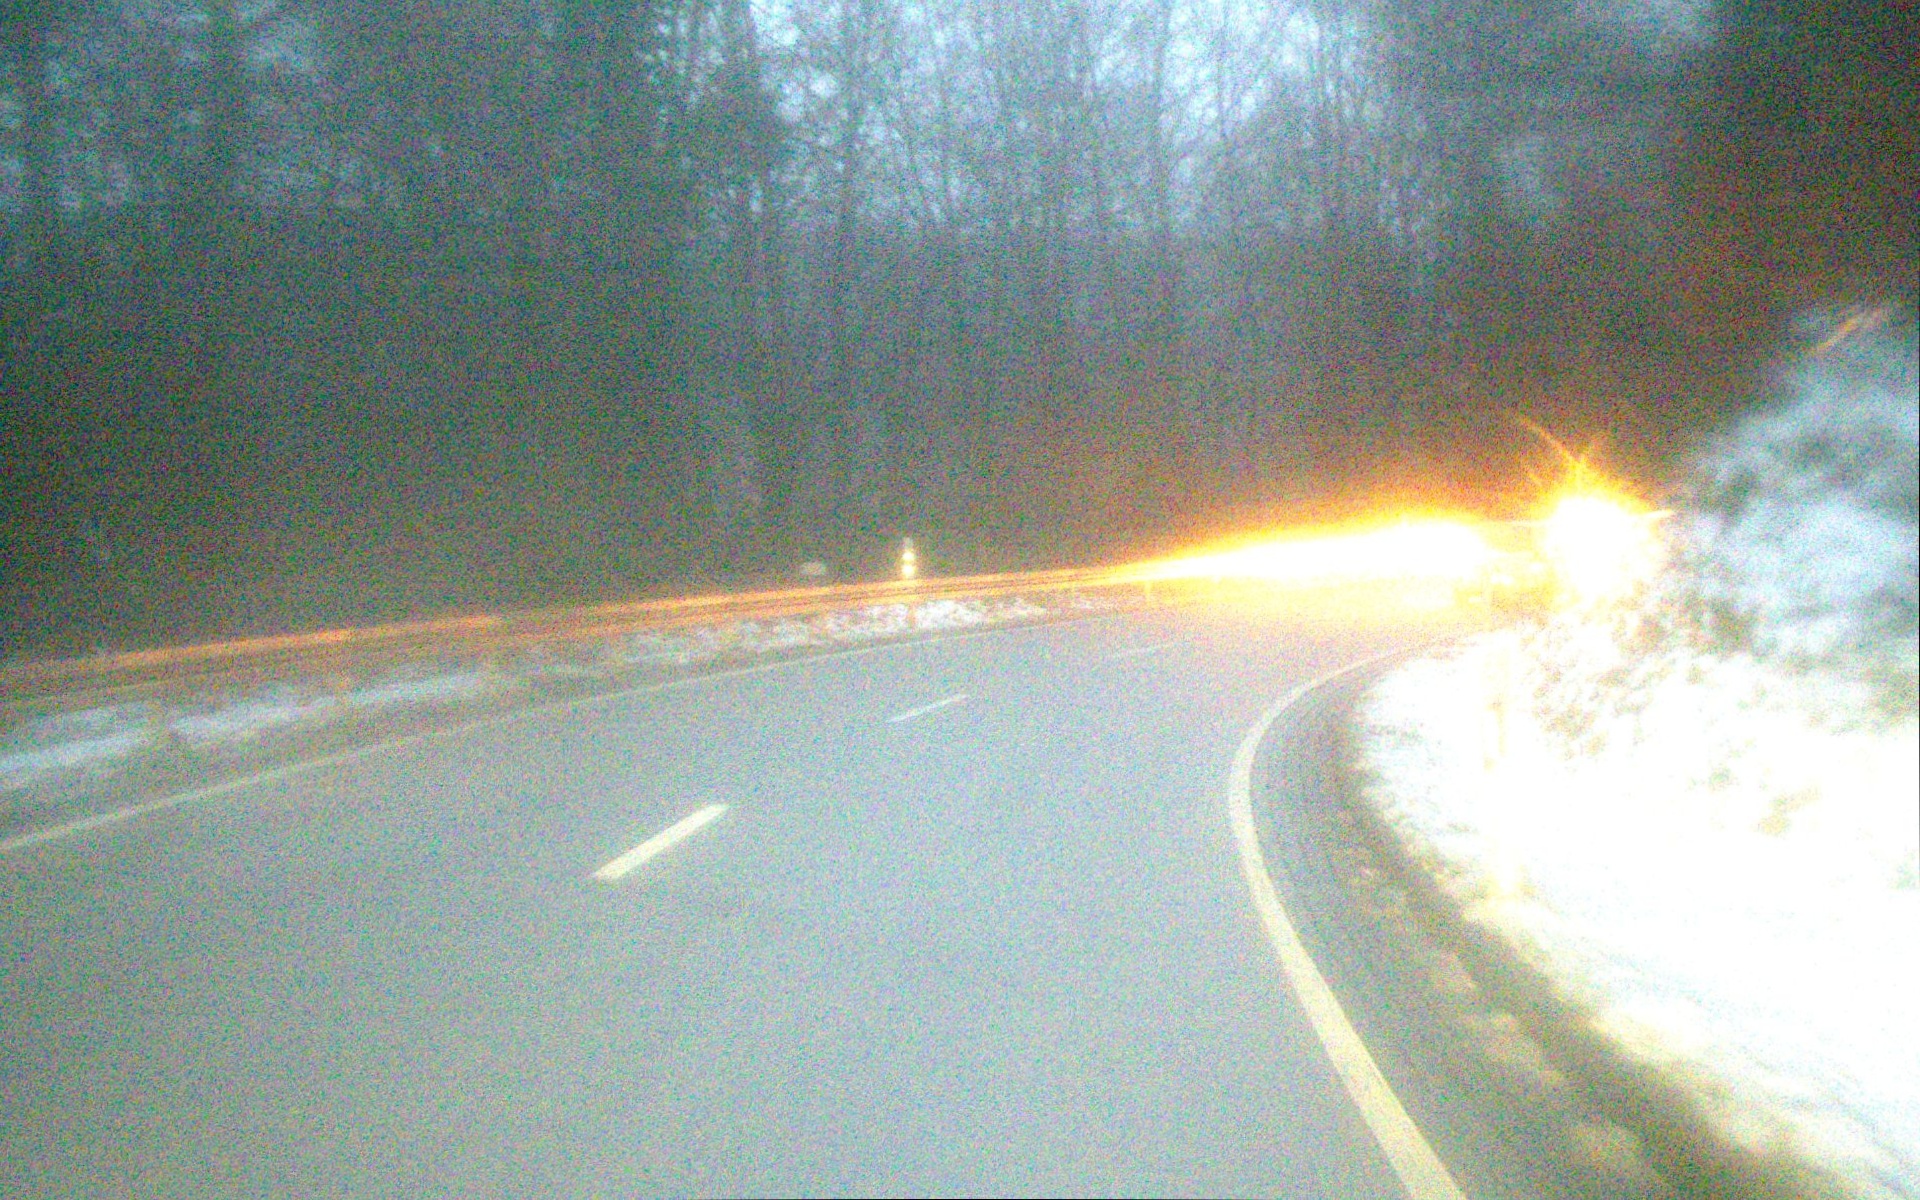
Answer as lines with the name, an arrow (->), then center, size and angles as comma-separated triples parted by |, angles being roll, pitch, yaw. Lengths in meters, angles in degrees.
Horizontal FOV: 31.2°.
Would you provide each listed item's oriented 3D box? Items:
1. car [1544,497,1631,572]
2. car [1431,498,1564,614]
car -> 14.324, -1.499, 78.363 | 1.723, 1.624, 3.998 | 1, 2, 13
car -> 9.043, -0.749, 57.648 | 1.994, 1.866, 3.998 | 0, 1, 12
